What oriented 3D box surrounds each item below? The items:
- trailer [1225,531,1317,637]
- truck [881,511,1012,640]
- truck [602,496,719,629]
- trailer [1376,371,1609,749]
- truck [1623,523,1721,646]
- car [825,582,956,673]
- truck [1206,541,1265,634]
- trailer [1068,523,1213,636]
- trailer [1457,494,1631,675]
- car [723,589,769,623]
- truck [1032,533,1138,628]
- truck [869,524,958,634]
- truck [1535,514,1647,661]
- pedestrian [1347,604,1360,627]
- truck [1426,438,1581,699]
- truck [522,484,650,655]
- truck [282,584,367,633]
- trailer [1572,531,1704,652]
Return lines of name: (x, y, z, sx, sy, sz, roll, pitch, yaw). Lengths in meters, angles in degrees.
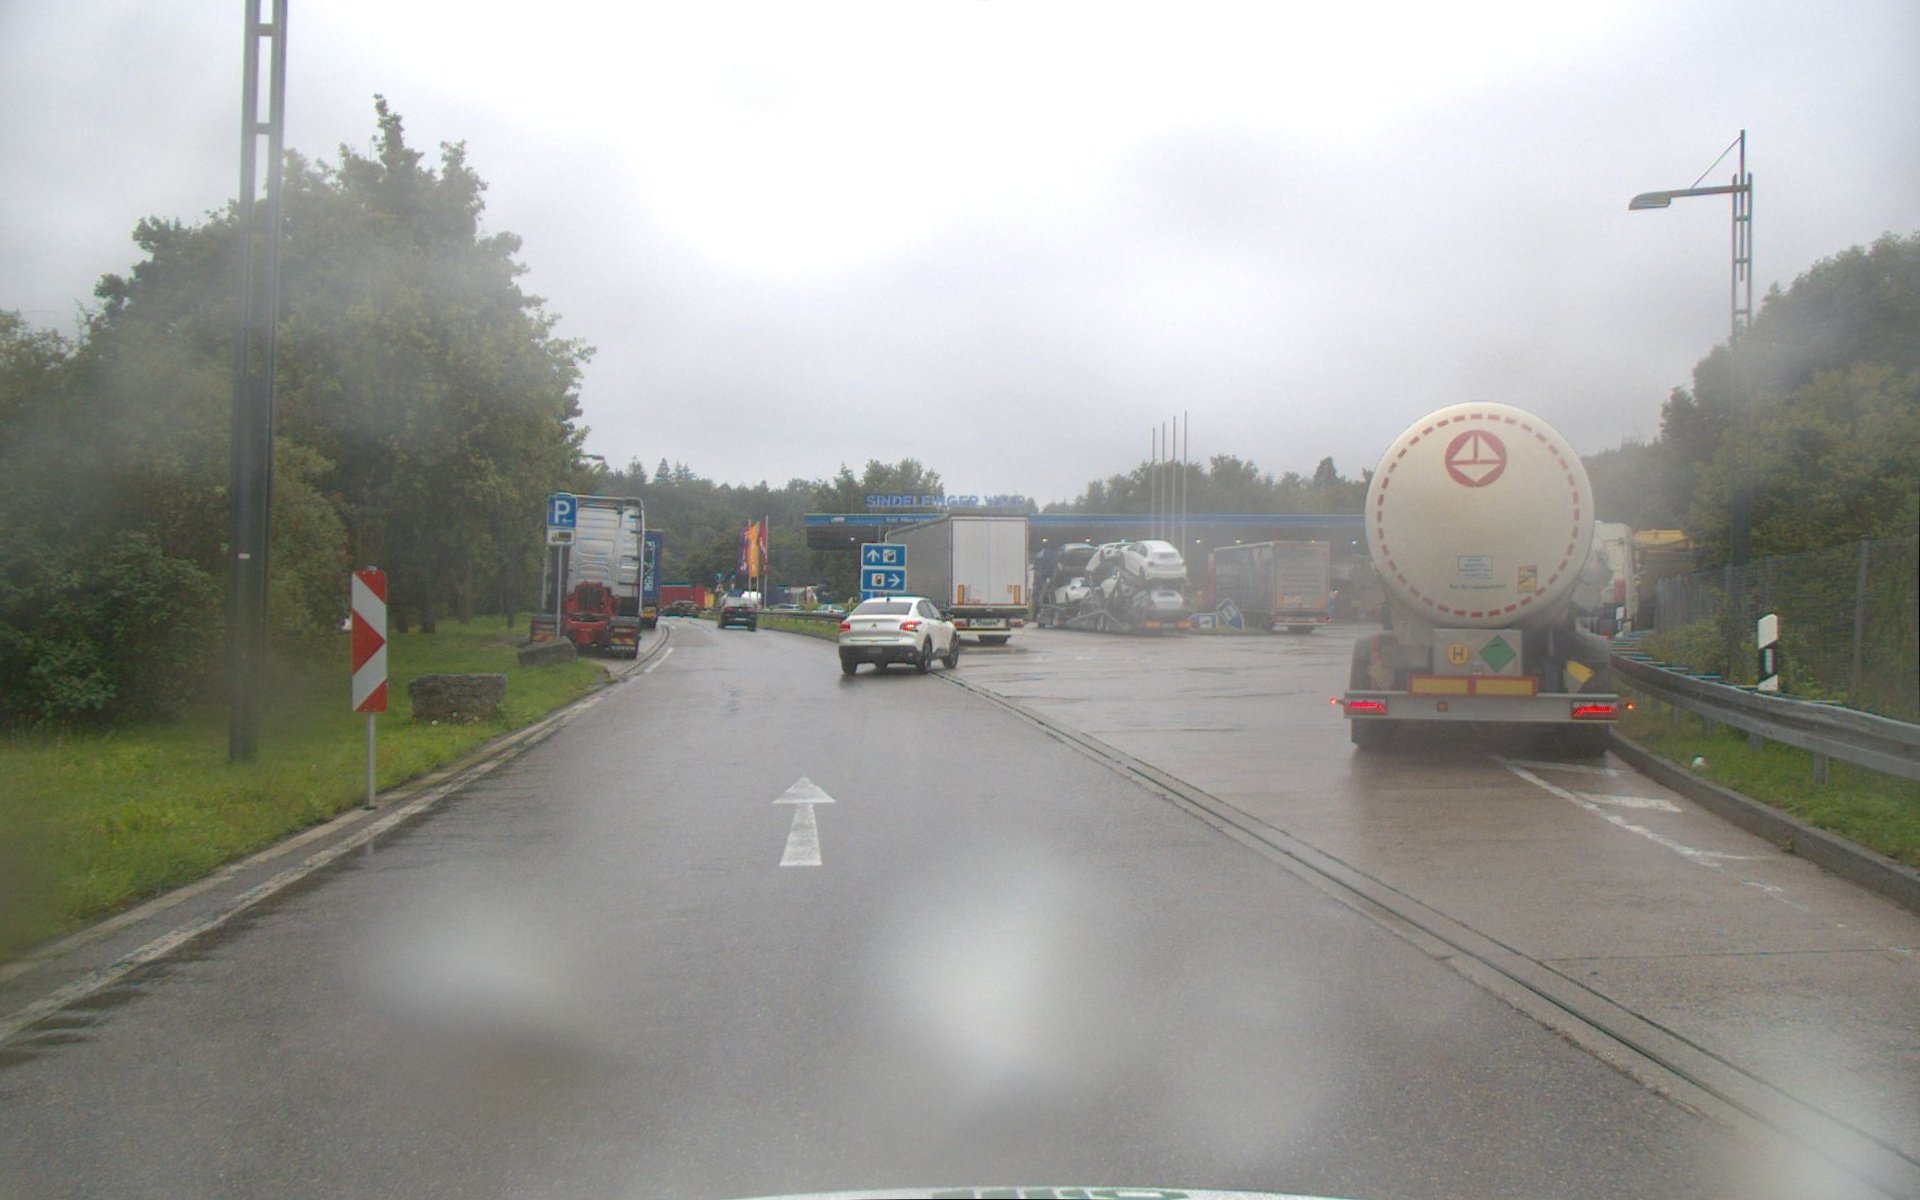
trailer: (14.452, -0.660, 77.472, 1.954, 4.639, 9.803, 1, -1, -3)
truck: (-0.696, -0.792, 56.917, 2.328, 3.942, 12.422, 0, 0, -11)
truck: (-13.460, -1.573, 73.373, 4.708, 5.398, 11.035, 1, 0, -12)
trailer: (6.359, -0.330, 19.539, 1.939, 3.281, 10.324, 1, 0, 19)
truck: (23.536, -0.498, 54.604, 2.144, 3.895, 4.126, 0, 0, 36)
car: (-1.354, 0.505, 33.787, 1.951, 1.708, 4.003, 1, 1, 8)
truck: (14.099, -0.614, 84.775, 1.948, 4.629, 4.792, 1, -1, -3)
trailer: (7.332, -0.829, 69.416, 3.156, 4.262, 11.506, 1, 0, -9)
trailer: (13.227, -0.290, 36.886, 2.090, 3.501, 10.237, 0, 0, 28)
car: (-9.956, 0.280, 77.046, 1.841, 1.487, 3.997, 1, -1, -4)
truck: (5.873, -0.909, 79.272, 3.174, 4.262, 8.427, 1, 0, -9)
truck: (-1.848, -0.781, 62.875, 2.328, 3.942, 6.993, 0, 0, -11)
truck: (16.317, -0.304, 42.636, 2.105, 3.574, 4.638, 0, 0, 29)
pedestrian: (27.946, 1.109, 117.487, 0.704, 1.548, 0.742, 2, -3, 23)
truck: (8.316, -0.431, 25.265, 2.010, 3.593, 4.747, 1, 0, 19)
truck: (-9.333, -0.710, 41.886, 2.863, 3.973, 6.300, 0, 0, -10)
truck: (-45.006, 0.587, 117.273, 5.152, 3.055, 1.995, 4, 0, -11)
trailer: (20.989, -0.256, 50.976, 2.146, 3.452, 7.536, 0, 0, 35)
